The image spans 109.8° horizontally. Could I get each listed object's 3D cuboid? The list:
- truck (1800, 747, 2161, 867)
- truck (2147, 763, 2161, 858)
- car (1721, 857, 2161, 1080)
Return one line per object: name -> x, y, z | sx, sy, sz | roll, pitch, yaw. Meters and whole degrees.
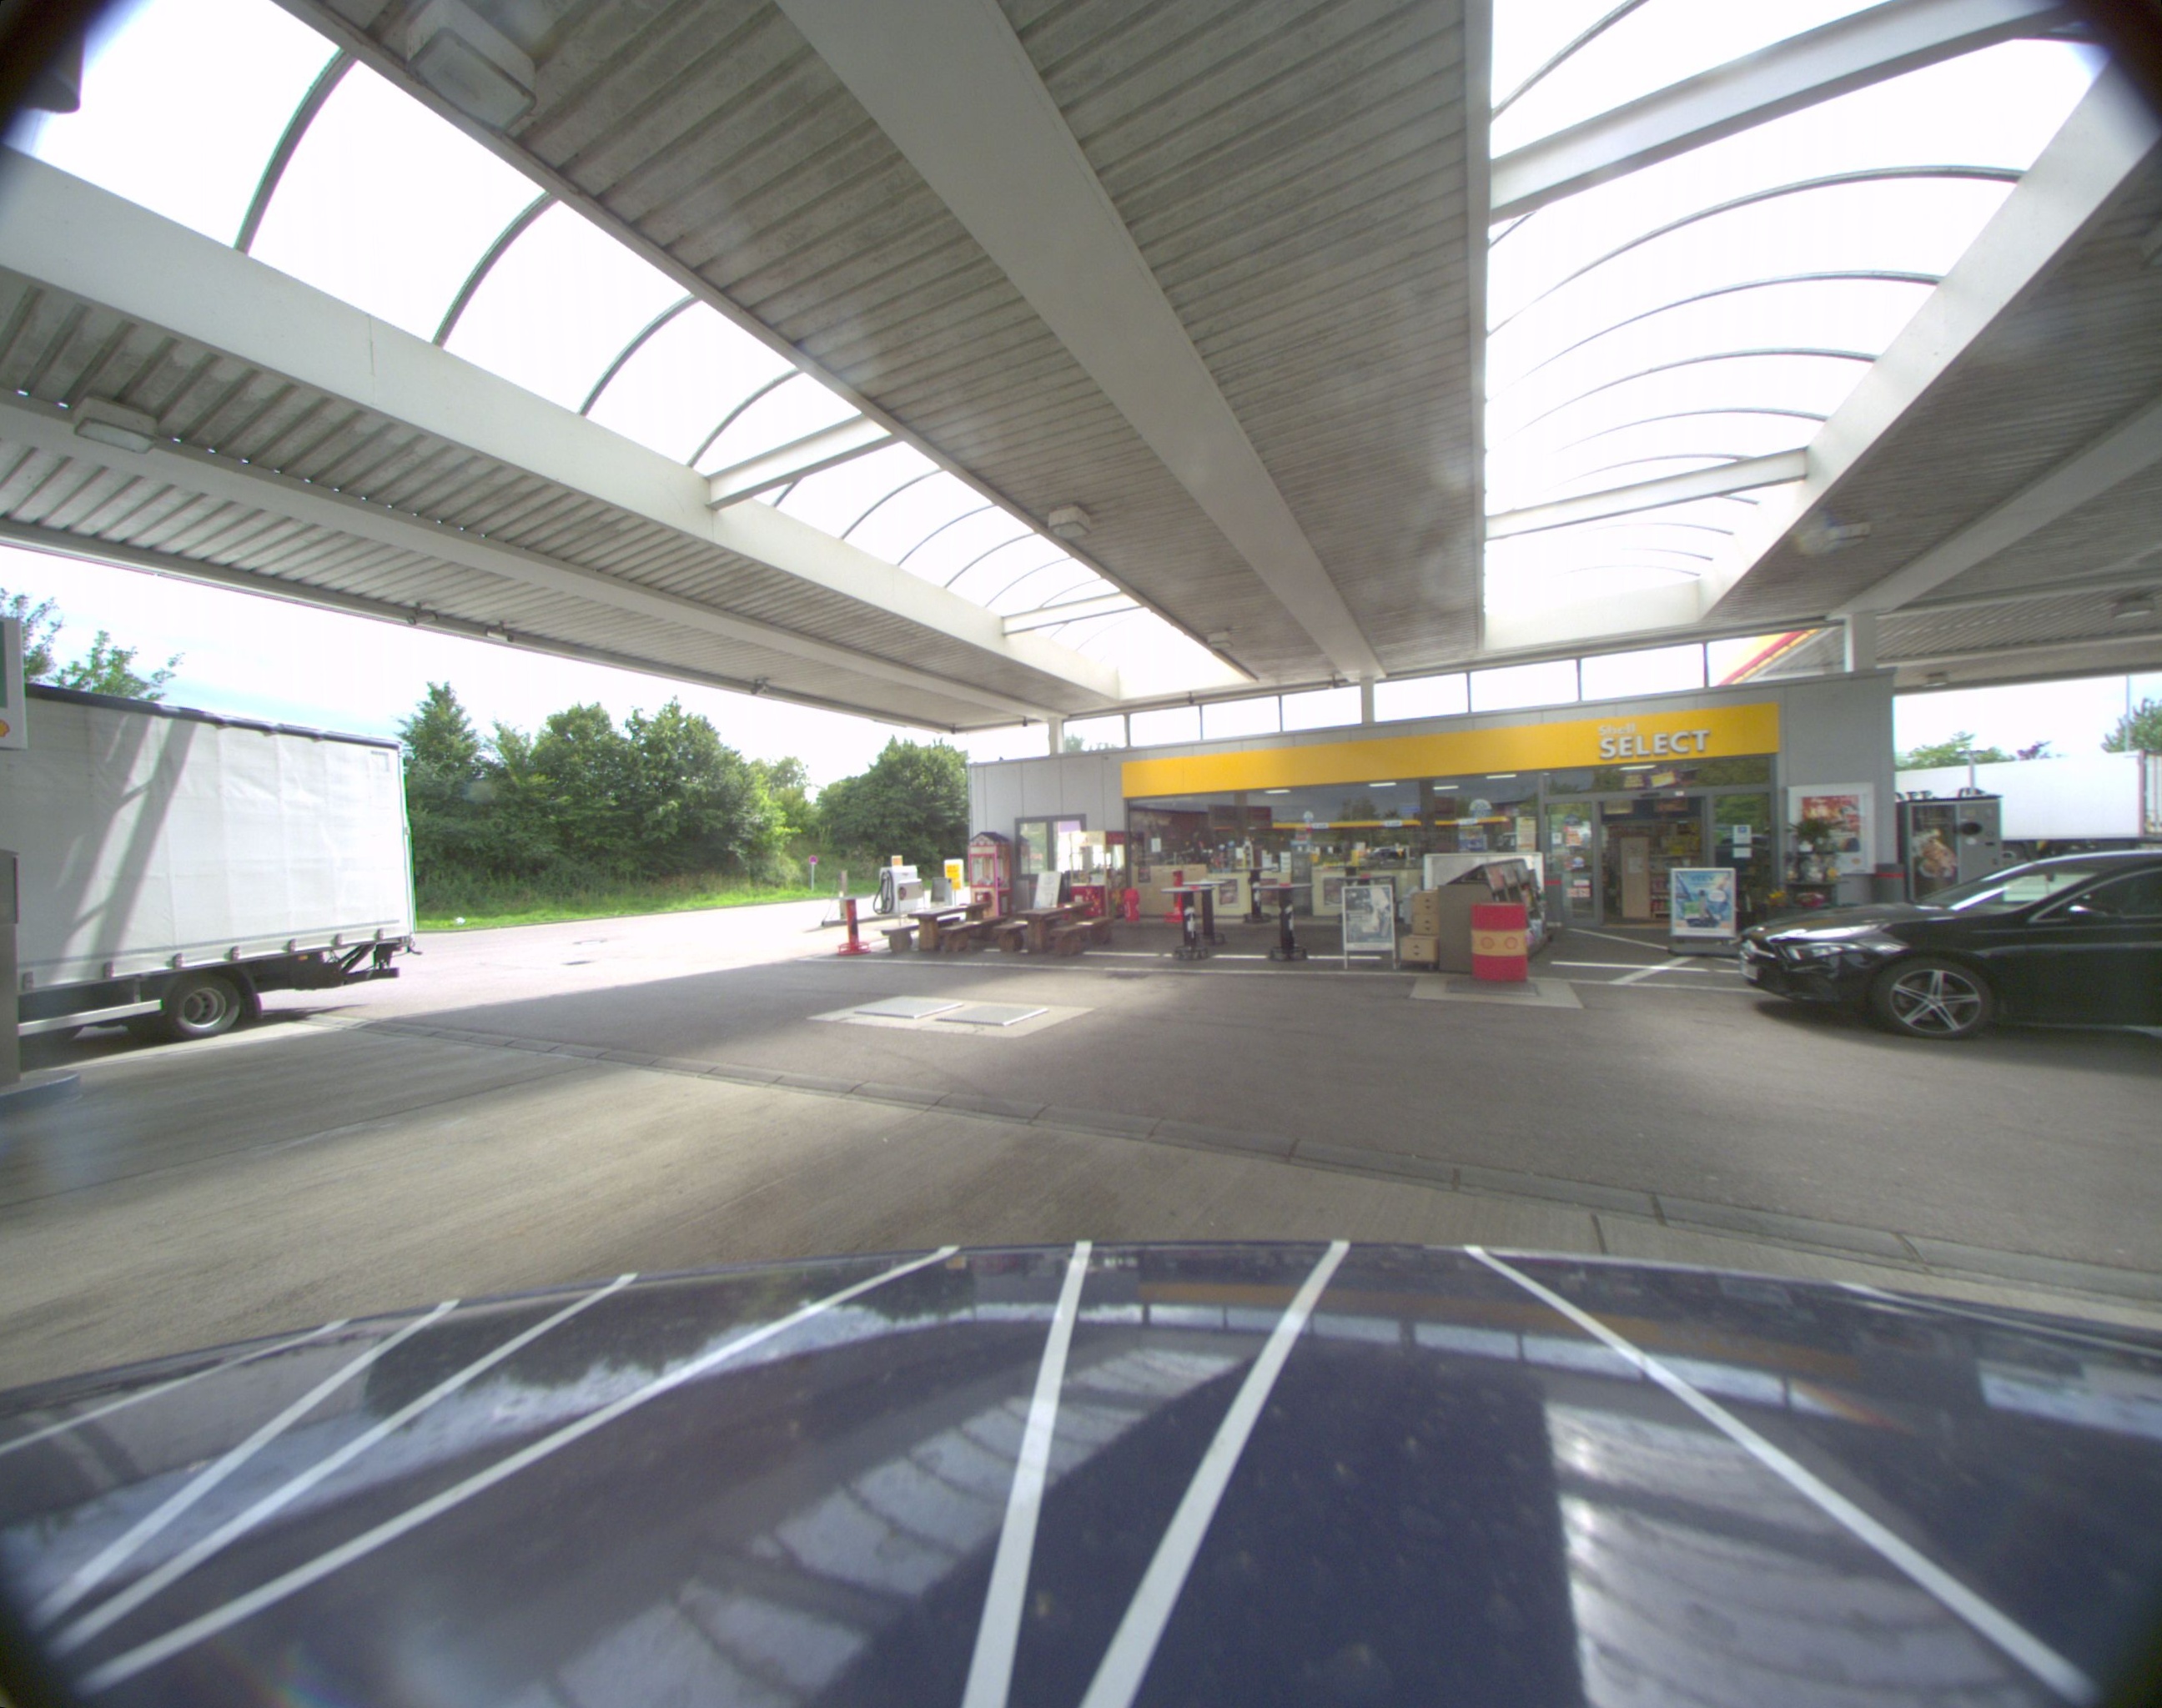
truck -> 35.132, -1.611, 30.096 | 2.796, 3.982, 9.578 | -2, 1, -16
truck -> 51.480, -2.036, 33.179 | 3.383, 4.479, 6.239 | -2, 1, 29
car -> 8.168, 0.814, 6.007 | 4.461, 1.491, 1.782 | -2, 1, 28
